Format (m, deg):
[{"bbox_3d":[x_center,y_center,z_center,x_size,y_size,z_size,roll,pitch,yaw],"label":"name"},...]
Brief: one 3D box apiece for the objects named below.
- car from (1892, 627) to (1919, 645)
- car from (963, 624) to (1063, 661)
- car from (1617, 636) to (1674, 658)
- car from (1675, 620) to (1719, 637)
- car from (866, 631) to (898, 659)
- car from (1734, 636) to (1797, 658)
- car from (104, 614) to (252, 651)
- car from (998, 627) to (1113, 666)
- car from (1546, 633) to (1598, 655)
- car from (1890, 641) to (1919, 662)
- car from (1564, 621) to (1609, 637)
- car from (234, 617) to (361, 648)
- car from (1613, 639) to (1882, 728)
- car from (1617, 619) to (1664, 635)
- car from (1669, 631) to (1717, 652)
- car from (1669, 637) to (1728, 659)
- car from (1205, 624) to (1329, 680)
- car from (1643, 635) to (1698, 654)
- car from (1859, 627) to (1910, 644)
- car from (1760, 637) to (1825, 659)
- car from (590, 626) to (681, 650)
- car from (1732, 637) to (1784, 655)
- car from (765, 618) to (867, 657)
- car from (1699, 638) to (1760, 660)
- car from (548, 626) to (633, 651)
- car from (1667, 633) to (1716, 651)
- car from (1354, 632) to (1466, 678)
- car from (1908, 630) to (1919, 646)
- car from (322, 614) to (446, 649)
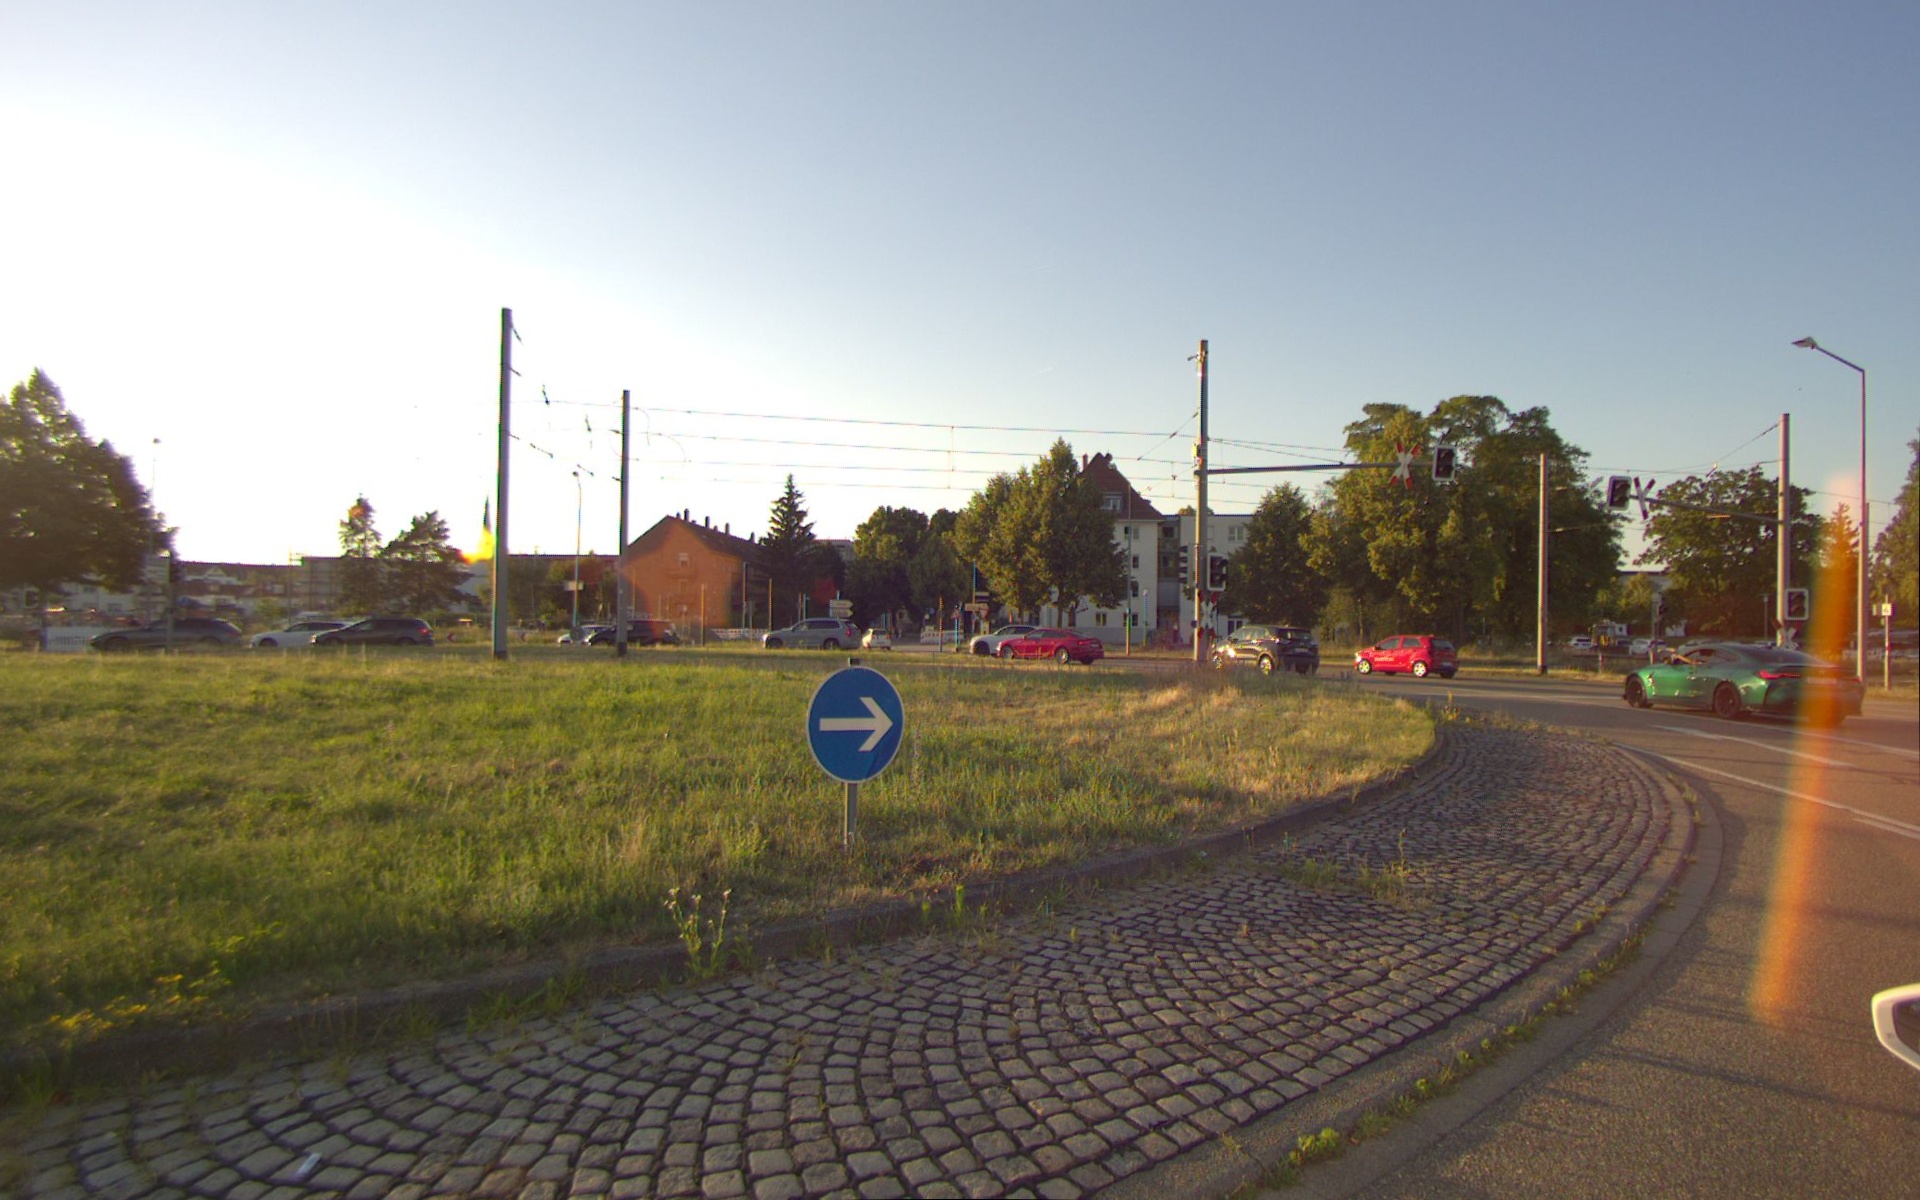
[{"bbox_3d":[107.455,4.043,112.572,3.919,2.040,2.001,1,-1,11],"label":"car"},{"bbox_3d":[2.660,2.099,50.176,4.623,1.728,2.000,0,-1,20],"label":"car"},{"bbox_3d":[54.755,3.715,80.318,1.960,1.625,4.002,1,-1,3],"label":"car"},{"bbox_3d":[93.209,3.608,127.008,4.033,2.040,2.001,1,-1,4],"label":"car"},{"bbox_3d":[-5.494,3.158,71.136,1.961,1.840,4.000,1,-1,-1],"label":"car"},{"bbox_3d":[64.014,3.728,79.912,1.960,1.625,4.002,1,-1,3],"label":"car"},{"bbox_3d":[-30.671,1.269,39.561,4.299,1.394,1.985,1,-1,-29],"label":"car"},{"bbox_3d":[3.757,1.800,40.066,1.883,1.410,4.437,2,-1,-45],"label":"car"},{"bbox_3d":[49.413,3.558,81.211,1.960,1.625,4.002,1,-1,3],"label":"car"},{"bbox_3d":[76.351,4.099,79.454,1.960,1.625,4.002,1,-1,3],"label":"car"},{"bbox_3d":[79.584,3.672,127.602,4.507,2.040,2.000,1,-1,0],"label":"car"},{"bbox_3d":[-30.215,1.482,45.974,4.397,1.385,2.102,1,-1,-18],"label":"car"},{"bbox_3d":[14.954,1.502,19.486,1.959,1.389,4.738,1,-1,7],"label":"car"},{"bbox_3d":[86.258,3.402,127.418,4.505,2.040,2.001,1,-1,5],"label":"car"},{"bbox_3d":[75.582,4.236,103.696,3.934,2.040,1.994,0,-1,35],"label":"car"},{"bbox_3d":[59.515,3.862,81.019,1.960,1.625,4.002,1,-1,3],"label":"car"},{"bbox_3d":[9.620,1.589,31.802,1.865,1.605,3.985,1,-1,-17],"label":"car"},{"bbox_3d":[69.211,4.345,97.911,3.919,1.684,1.904,1,-1,5],"label":"car"},{"bbox_3d":[108.035,4.144,117.423,3.919,1.840,2.001,1,-1,5],"label":"car"},{"bbox_3d":[66.367,3.801,80.150,1.960,1.625,4.002,1,-1,3],"label":"car"},{"bbox_3d":[-16.028,1.865,49.760,3.921,1.119,1.690,1,-1,0],"label":"car"},{"bbox_3d":[77.348,4.433,97.393,3.938,1.684,1.894,0,-1,39],"label":"car"},{"bbox_3d":[-7.053,1.813,49.189,4.536,1.759,1.897,1,-1,15],"label":"car"},{"bbox_3d":[61.633,3.924,80.541,1.960,1.625,4.002,1,-1,3],"label":"car"},{"bbox_3d":[-21.612,2.224,58.965,2.071,1.385,4.462,0,-1,26],"label":"car"},{"bbox_3d":[73.162,4.203,100.555,3.934,1.684,1.994,0,-1,35],"label":"car"},{"bbox_3d":[16.177,1.948,36.250,1.622,1.519,3.465,1,-1,-28],"label":"car"},{"bbox_3d":[105.587,4.126,108.695,1.971,1.728,3.979,1,-1,-22],"label":"car"},{"bbox_3d":[-24.307,1.328,42.561,4.323,1.394,1.989,1,-1,-24],"label":"car"}]
